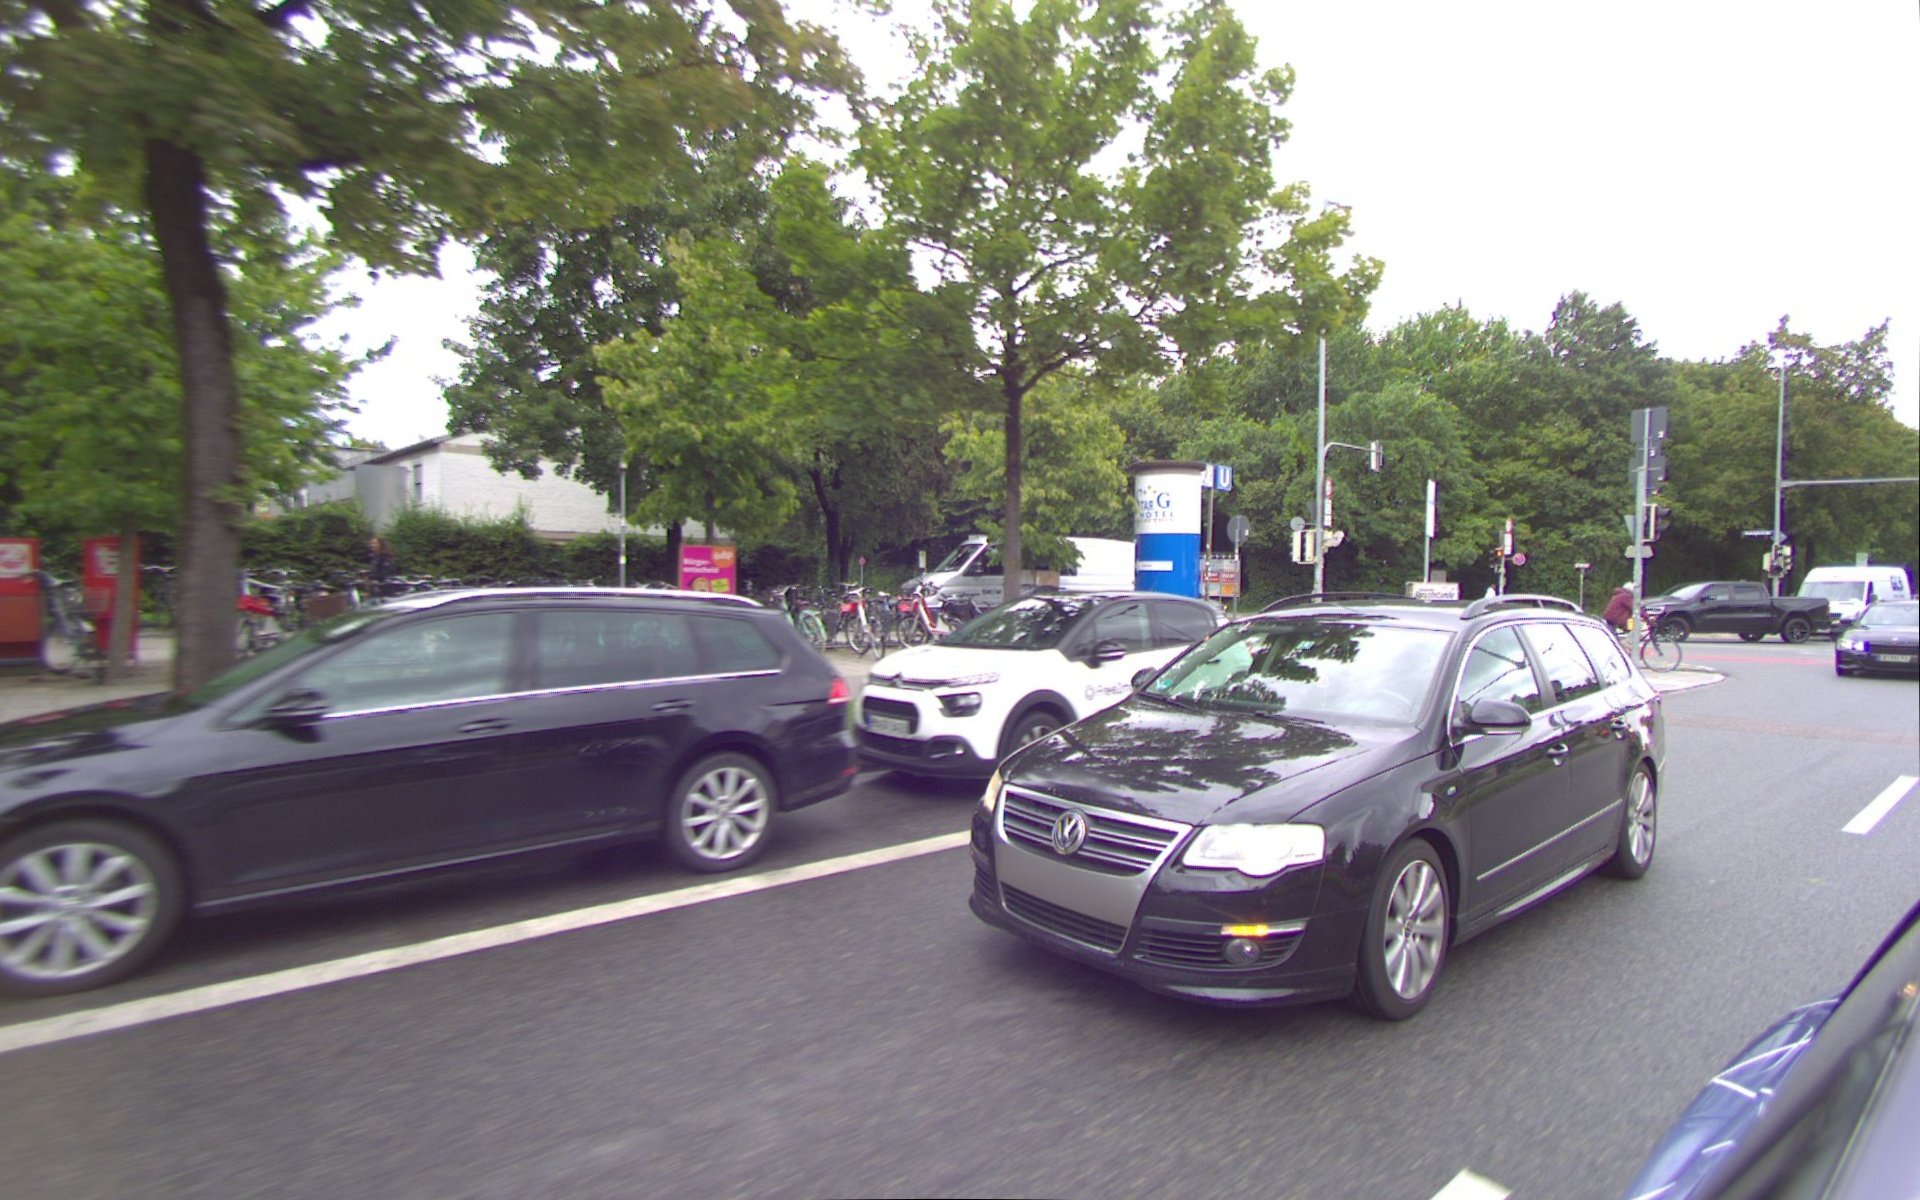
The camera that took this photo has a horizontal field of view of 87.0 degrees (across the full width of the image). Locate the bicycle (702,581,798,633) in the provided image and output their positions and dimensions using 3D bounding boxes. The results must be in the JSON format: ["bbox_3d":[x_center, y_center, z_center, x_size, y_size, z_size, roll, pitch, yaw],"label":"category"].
[{"bbox_3d":[-4.894,0.149,23.637,2.091,1.168,0.718,1,1,4],"label":"bicycle"}]

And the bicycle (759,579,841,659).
[{"bbox_3d":[-2.612,0.275,16.363,0.556,1.156,1.813,0,3,-35],"label":"bicycle"}]

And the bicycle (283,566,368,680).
[{"bbox_3d":[-7.741,0.223,12.298,0.520,1.171,2.344,0,4,-40],"label":"bicycle"}]

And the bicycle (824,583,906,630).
[{"bbox_3d":[-2.468,0.161,26.425,2.088,1.168,0.719,1,1,0],"label":"bicycle"}]

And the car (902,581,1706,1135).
[{"bbox_3d":[2.040,0.667,4.943,4.592,1.493,1.749,-1,1,-43],"label":"car"}]

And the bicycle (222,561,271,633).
[{"bbox_3d":[-13.243,-0.093,18.763,0.520,1.171,2.344,0,4,-40],"label":"bicycle"}]

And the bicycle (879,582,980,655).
[{"bbox_3d":[-0.549,0.295,17.706,1.803,1.156,0.559,4,3,39],"label":"bicycle"}]

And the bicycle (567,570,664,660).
[{"bbox_3d":[-5.335,0.191,15.561,0.574,1.171,2.344,0,4,-40],"label":"bicycle"}]

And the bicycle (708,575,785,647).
[{"bbox_3d":[-3.805,0.170,17.940,0.557,1.156,1.811,0,3,-40],"label":"bicycle"}]

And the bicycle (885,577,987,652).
[{"bbox_3d":[-0.460,0.235,18.483,1.936,1.227,0.559,4,3,39],"label":"bicycle"}]

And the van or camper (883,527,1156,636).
[{"bbox_3d":[1.425,-0.406,23.764,6.069,2.325,2.153,0,1,-23],"label":"van or camper"}]

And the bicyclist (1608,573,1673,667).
[{"bbox_3d":[13.289,0.374,19.788,0.815,1.786,0.743,1,1,14],"label":"bicyclist"}]

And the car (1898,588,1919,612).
[{"bbox_3d":[68.152,-0.021,71.978,4.183,1.670,1.750,-1,2,-43],"label":"car"}]

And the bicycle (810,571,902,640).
[{"bbox_3d":[-2.066,0.085,19.868,1.936,1.227,0.559,4,3,39],"label":"bicycle"}]

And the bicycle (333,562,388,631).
[{"bbox_3d":[-11.721,-0.101,19.749,0.520,1.171,2.344,0,4,-40],"label":"bicycle"}]

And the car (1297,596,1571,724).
[{"bbox_3d":[6.356,0.651,13.308,4.543,1.377,1.712,-1,1,-43],"label":"car"}]

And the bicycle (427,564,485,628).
[{"bbox_3d":[-10.471,-0.110,20.980,0.520,1.171,2.344,0,4,-40],"label":"bicycle"}]

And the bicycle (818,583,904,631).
[{"bbox_3d":[-2.489,0.168,25.618,2.088,1.168,0.719,1,1,0],"label":"bicycle"}]

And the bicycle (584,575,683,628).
[{"bbox_3d":[-7.583,0.027,23.523,2.092,1.168,0.717,1,1,7],"label":"bicycle"}]

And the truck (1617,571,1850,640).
[{"bbox_3d":[24.590,0.129,32.350,5.704,2.038,2.105,1,1,2],"label":"truck"}]

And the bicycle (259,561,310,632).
[{"bbox_3d":[-12.763,-0.095,19.097,0.520,1.171,2.344,0,4,-40],"label":"bicycle"}]

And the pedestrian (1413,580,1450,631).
[{"bbox_3d":[14.450,0.159,31.047,0.722,1.557,0.694,0,1,-21],"label":"pedestrian"}]

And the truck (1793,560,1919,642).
[{"bbox_3d":[31.639,-0.033,35.390,7.089,2.636,2.000,-1,1,-35],"label":"truck"}]

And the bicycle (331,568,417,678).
[{"bbox_3d":[-7.412,0.239,12.746,0.520,1.171,2.344,0,4,-40],"label":"bicycle"}]

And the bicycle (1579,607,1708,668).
[{"bbox_3d":[13.319,0.720,19.782,1.919,1.094,0.745,1,1,14],"label":"bicycle"}]

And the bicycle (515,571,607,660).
[{"bbox_3d":[-6.163,0.194,15.554,0.574,1.171,2.344,0,4,-40],"label":"bicycle"}]

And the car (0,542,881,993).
[{"bbox_3d":[-2.775,0.573,5.089,4.558,1.567,1.751,0,0,-39],"label":"car"}]

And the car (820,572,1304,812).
[{"bbox_3d":[1.071,0.570,8.731,4.307,1.567,1.715,-1,2,-42],"label":"car"}]

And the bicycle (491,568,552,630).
[{"bbox_3d":[-9.418,-0.053,21.676,0.520,1.171,2.344,0,4,-40],"label":"bicycle"}]

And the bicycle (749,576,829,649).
[{"bbox_3d":[-3.062,0.192,18.014,0.557,1.156,1.811,0,3,-40],"label":"bicycle"}]

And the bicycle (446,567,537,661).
[{"bbox_3d":[-6.853,0.155,14.733,0.574,1.171,2.344,0,4,-40],"label":"bicycle"}]

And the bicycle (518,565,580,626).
[{"bbox_3d":[-8.974,-0.119,22.050,0.520,1.171,2.344,0,4,-40],"label":"bicycle"}]

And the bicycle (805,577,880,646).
[{"bbox_3d":[-2.185,0.187,18.676,0.556,1.156,1.813,0,3,-35],"label":"bicycle"}]

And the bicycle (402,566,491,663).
[{"bbox_3d":[-7.300,0.158,14.334,0.574,1.171,2.344,0,4,-40],"label":"bicycle"}]

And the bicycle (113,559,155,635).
[{"bbox_3d":[-14.580,-0.086,17.850,0.520,1.171,2.344,0,4,-40],"label":"bicycle"}]

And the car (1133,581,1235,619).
[{"bbox_3d":[9.368,-0.017,42.457,3.935,1.472,1.603,2,2,42],"label":"car"}]

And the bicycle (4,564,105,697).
[{"bbox_3d":[-9.561,0.258,10.652,2.337,1.171,0.521,5,4,41],"label":"bicycle"}]

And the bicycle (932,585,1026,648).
[{"bbox_3d":[0.348,0.296,19.425,1.803,1.084,0.559,4,3,39],"label":"bicycle"}]

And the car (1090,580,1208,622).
[{"bbox_3d":[7.363,0.002,39.794,1.856,1.516,4.304,0,2,-43],"label":"car"}]

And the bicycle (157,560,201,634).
[{"bbox_3d":[-14.144,-0.089,18.303,0.520,1.171,2.344,0,4,-40],"label":"bicycle"}]

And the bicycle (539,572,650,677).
[{"bbox_3d":[-4.897,0.275,13.460,0.574,1.171,2.344,0,4,-40],"label":"bicycle"}]

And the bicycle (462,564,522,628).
[{"bbox_3d":[-9.884,-0.113,21.336,0.520,1.171,2.344,0,4,-40],"label":"bicycle"}]

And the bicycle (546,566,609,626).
[{"bbox_3d":[-8.489,-0.121,22.379,0.520,1.171,2.344,0,4,-40],"label":"bicycle"}]

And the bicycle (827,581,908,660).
[{"bbox_3d":[-1.550,0.304,16.656,0.556,1.156,1.814,0,3,-31],"label":"bicycle"}]

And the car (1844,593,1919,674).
[{"bbox_3d":[18.792,0.585,19.649,4.589,1.447,1.818,0,0,-41],"label":"car"}]

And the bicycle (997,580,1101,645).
[{"bbox_3d":[1.784,0.227,20.171,1.962,1.213,0.864,0,3,-37],"label":"bicycle"}]

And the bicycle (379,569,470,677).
[{"bbox_3d":[-6.914,0.249,12.994,0.520,1.171,2.344,0,4,-40],"label":"bicycle"}]

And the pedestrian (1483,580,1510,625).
[{"bbox_3d":[20.961,0.086,39.528,0.758,1.724,0.926,1,1,40],"label":"pedestrian"}]

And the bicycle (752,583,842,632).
[{"bbox_3d":[-3.982,0.174,24.798,2.088,1.168,0.719,1,1,0],"label":"bicycle"}]

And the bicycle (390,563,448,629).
[{"bbox_3d":[-10.957,-0.106,20.453,0.520,1.171,2.344,0,4,-40],"label":"bicycle"}]
